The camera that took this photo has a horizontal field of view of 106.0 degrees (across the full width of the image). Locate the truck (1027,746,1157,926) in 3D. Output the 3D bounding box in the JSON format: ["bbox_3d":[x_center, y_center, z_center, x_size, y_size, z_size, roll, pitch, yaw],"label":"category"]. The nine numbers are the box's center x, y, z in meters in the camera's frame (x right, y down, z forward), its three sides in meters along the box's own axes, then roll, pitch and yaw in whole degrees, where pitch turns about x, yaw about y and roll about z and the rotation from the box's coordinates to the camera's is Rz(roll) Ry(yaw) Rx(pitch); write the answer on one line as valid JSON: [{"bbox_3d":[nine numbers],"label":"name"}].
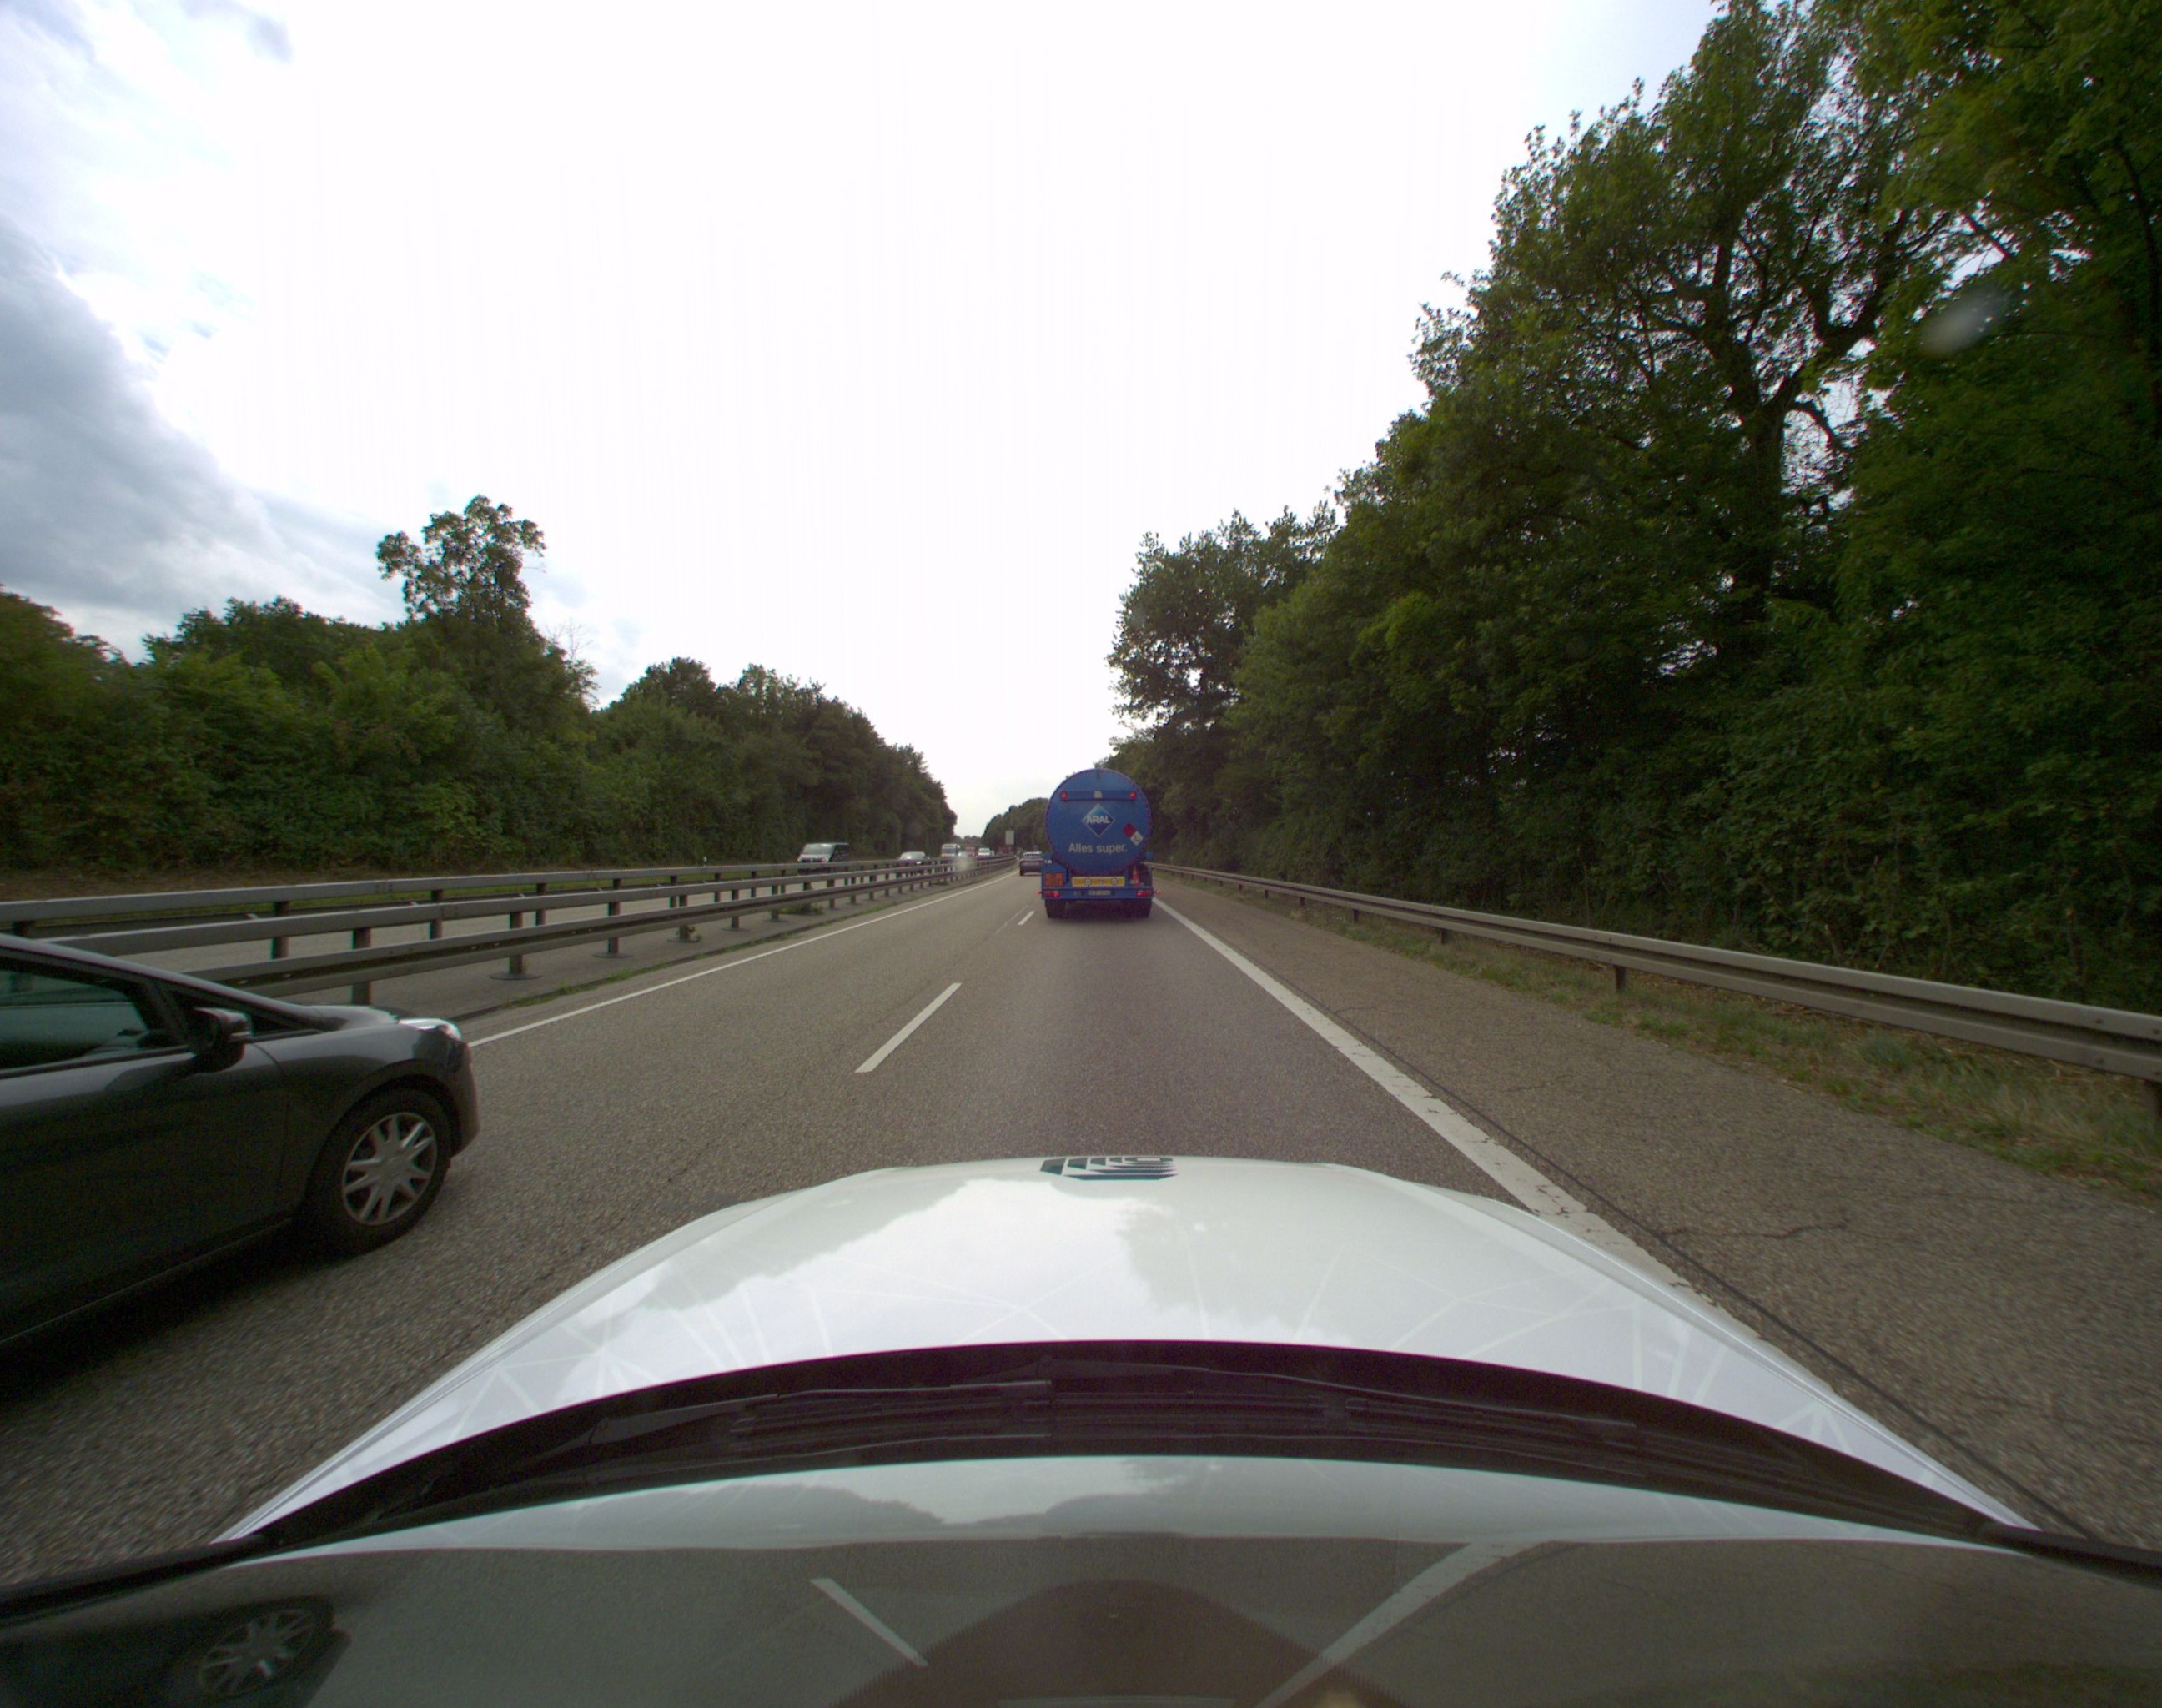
[{"bbox_3d":[0.413,-0.400,21.459,2.744,3.846,7.693,-1,0,2],"label":"truck"}]

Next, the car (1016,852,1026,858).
[{"bbox_3d":[-14.036,0.227,190.852,1.992,1.552,3.989,-1,0,-8],"label":"car"}]

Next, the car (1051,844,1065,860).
[{"bbox_3d":[-3.418,-0.311,120.959,1.987,2.244,4.000,-1,0,0],"label":"car"}]

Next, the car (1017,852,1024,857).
[{"bbox_3d":[-18.467,0.230,248.412,1.992,1.552,3.990,-1,0,-7],"label":"car"}]

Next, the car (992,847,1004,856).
[{"bbox_3d":[-14.439,-0.427,141.426,1.777,1.563,4.012,-1,0,-2],"label":"car"}]

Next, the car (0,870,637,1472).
[{"bbox_3d":[-3.602,0.833,2.385,1.818,1.458,4.644,-1,0,3],"label":"car"}]

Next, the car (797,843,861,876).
[{"bbox_3d":[-14.595,0.295,47.493,2.028,1.804,5.123,-1,0,1],"label":"car"}]

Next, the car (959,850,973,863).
[{"bbox_3d":[-20.822,0.463,147.845,2.061,2.256,5.370,-1,0,-3],"label":"car"}]

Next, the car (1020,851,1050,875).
[{"bbox_3d":[-3.190,0.648,57.693,1.820,1.609,4.167,-1,0,1],"label":"car"}]

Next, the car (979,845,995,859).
[{"bbox_3d":[-13.863,-0.273,120.258,1.816,1.983,5.055,-1,0,-1],"label":"car"}]

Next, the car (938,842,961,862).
[{"bbox_3d":[-18.039,-0.301,112.051,2.305,2.611,5.550,-1,0,-1],"label":"car"}]

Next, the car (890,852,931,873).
[{"bbox_3d":[-11.250,0.553,54.053,1.649,1.278,4.713,-1,0,1],"label":"car"}]

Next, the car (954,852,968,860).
[{"bbox_3d":[-19.762,0.303,134.329,1.770,1.296,4.104,-1,0,-2],"label":"car"}]
